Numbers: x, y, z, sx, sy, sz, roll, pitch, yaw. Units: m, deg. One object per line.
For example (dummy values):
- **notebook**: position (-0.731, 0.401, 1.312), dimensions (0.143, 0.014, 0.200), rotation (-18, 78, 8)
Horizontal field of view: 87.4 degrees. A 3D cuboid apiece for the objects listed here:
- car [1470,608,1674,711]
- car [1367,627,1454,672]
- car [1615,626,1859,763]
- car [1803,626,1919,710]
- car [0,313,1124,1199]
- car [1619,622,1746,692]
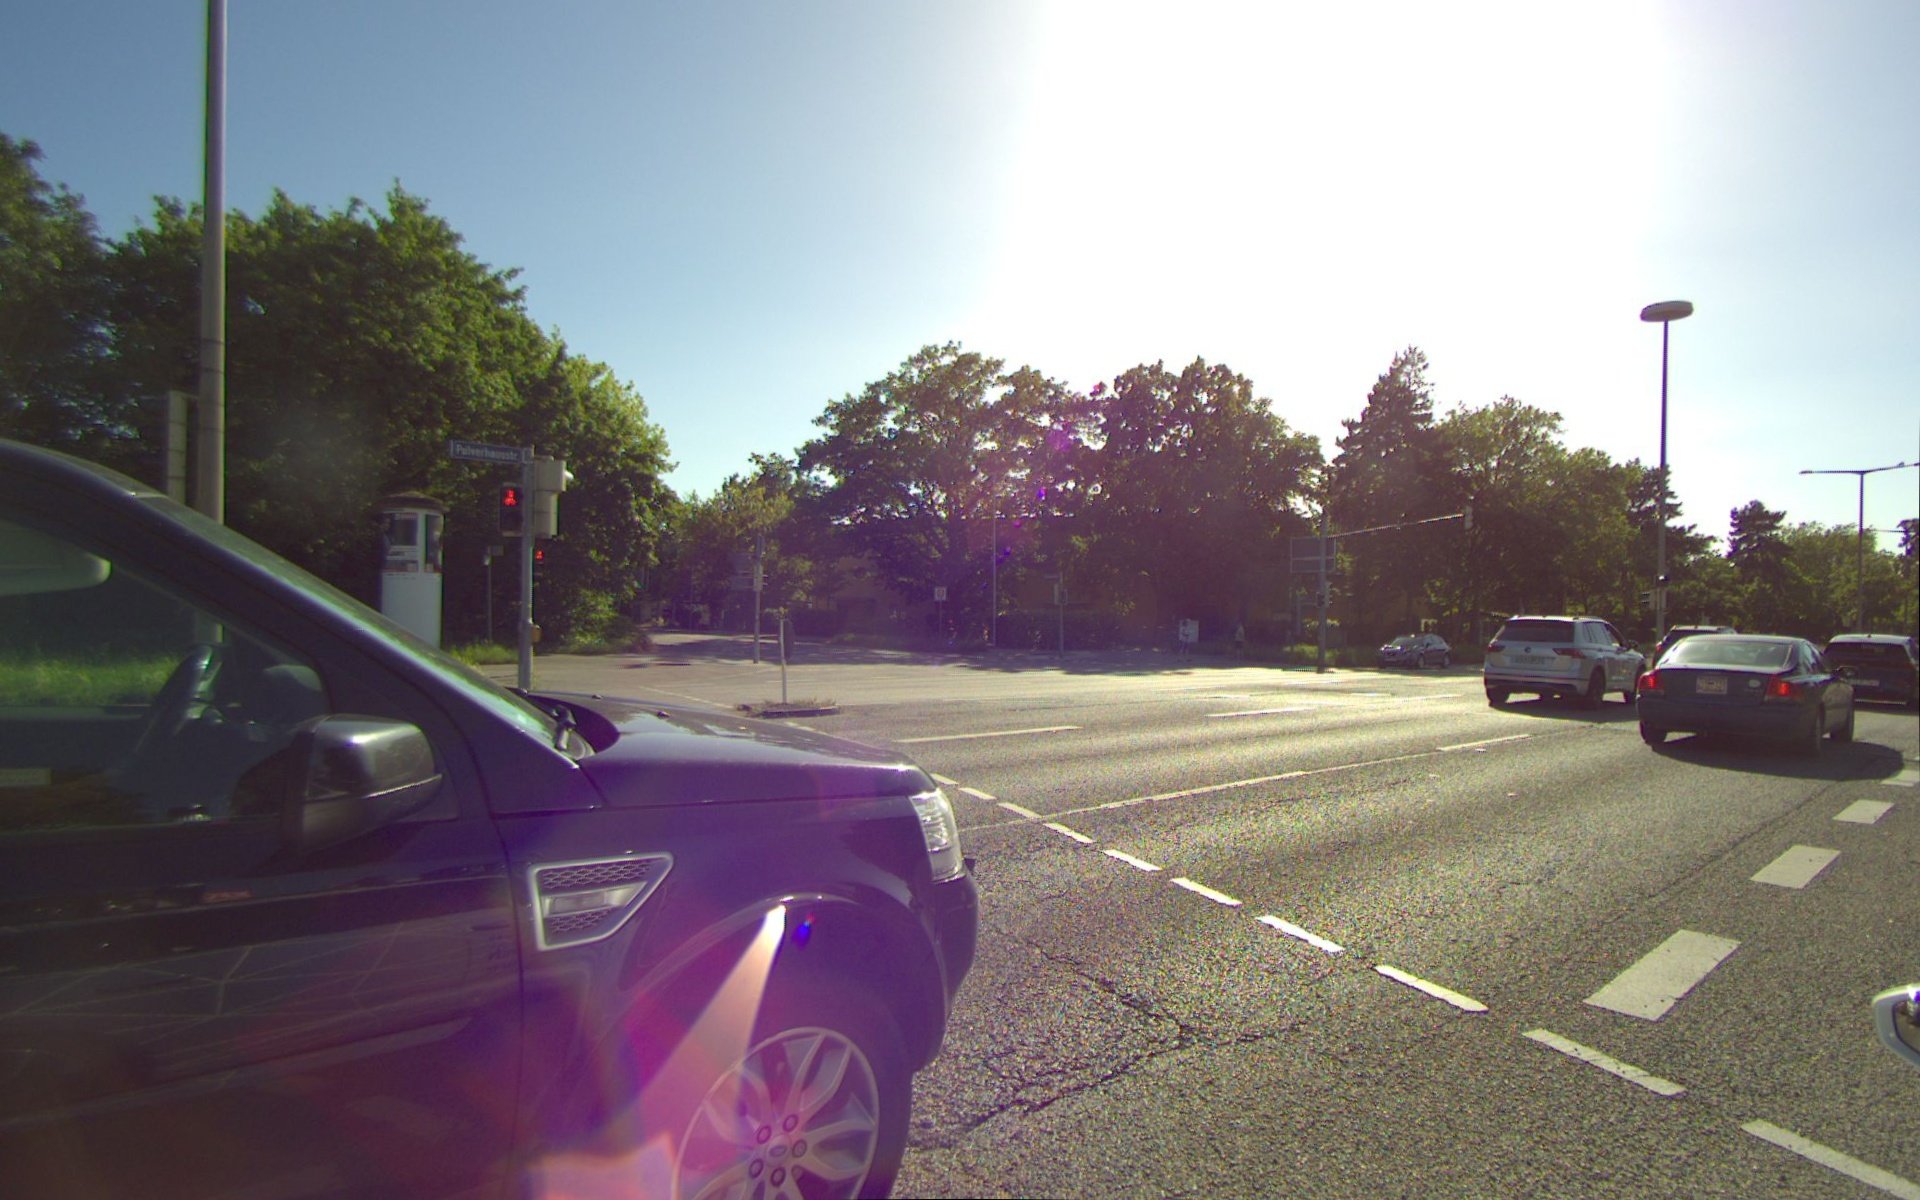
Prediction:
- **car**: position (11.785, 1.104, 19.232), dimensions (4.327, 1.675, 1.927), rotation (3, 0, -39)
- **car**: position (18.904, 2.060, 42.095), dimensions (4.074, 1.675, 1.786), rotation (3, 0, -42)
- **car**: position (10.352, 1.137, 13.253), dimensions (4.334, 1.413, 1.819), rotation (3, 0, -43)
- **car**: position (20.216, 1.464, 22.206), dimensions (4.332, 1.609, 1.820), rotation (3, -1, -42)
- **car**: position (-1.829, 0.492, 1.824), dimensions (4.358, 1.706, 1.806), rotation (3, -1, -41)
- **car**: position (19.960, 1.541, 27.692), dimensions (4.332, 1.675, 1.893), rotation (3, 0, -42)
